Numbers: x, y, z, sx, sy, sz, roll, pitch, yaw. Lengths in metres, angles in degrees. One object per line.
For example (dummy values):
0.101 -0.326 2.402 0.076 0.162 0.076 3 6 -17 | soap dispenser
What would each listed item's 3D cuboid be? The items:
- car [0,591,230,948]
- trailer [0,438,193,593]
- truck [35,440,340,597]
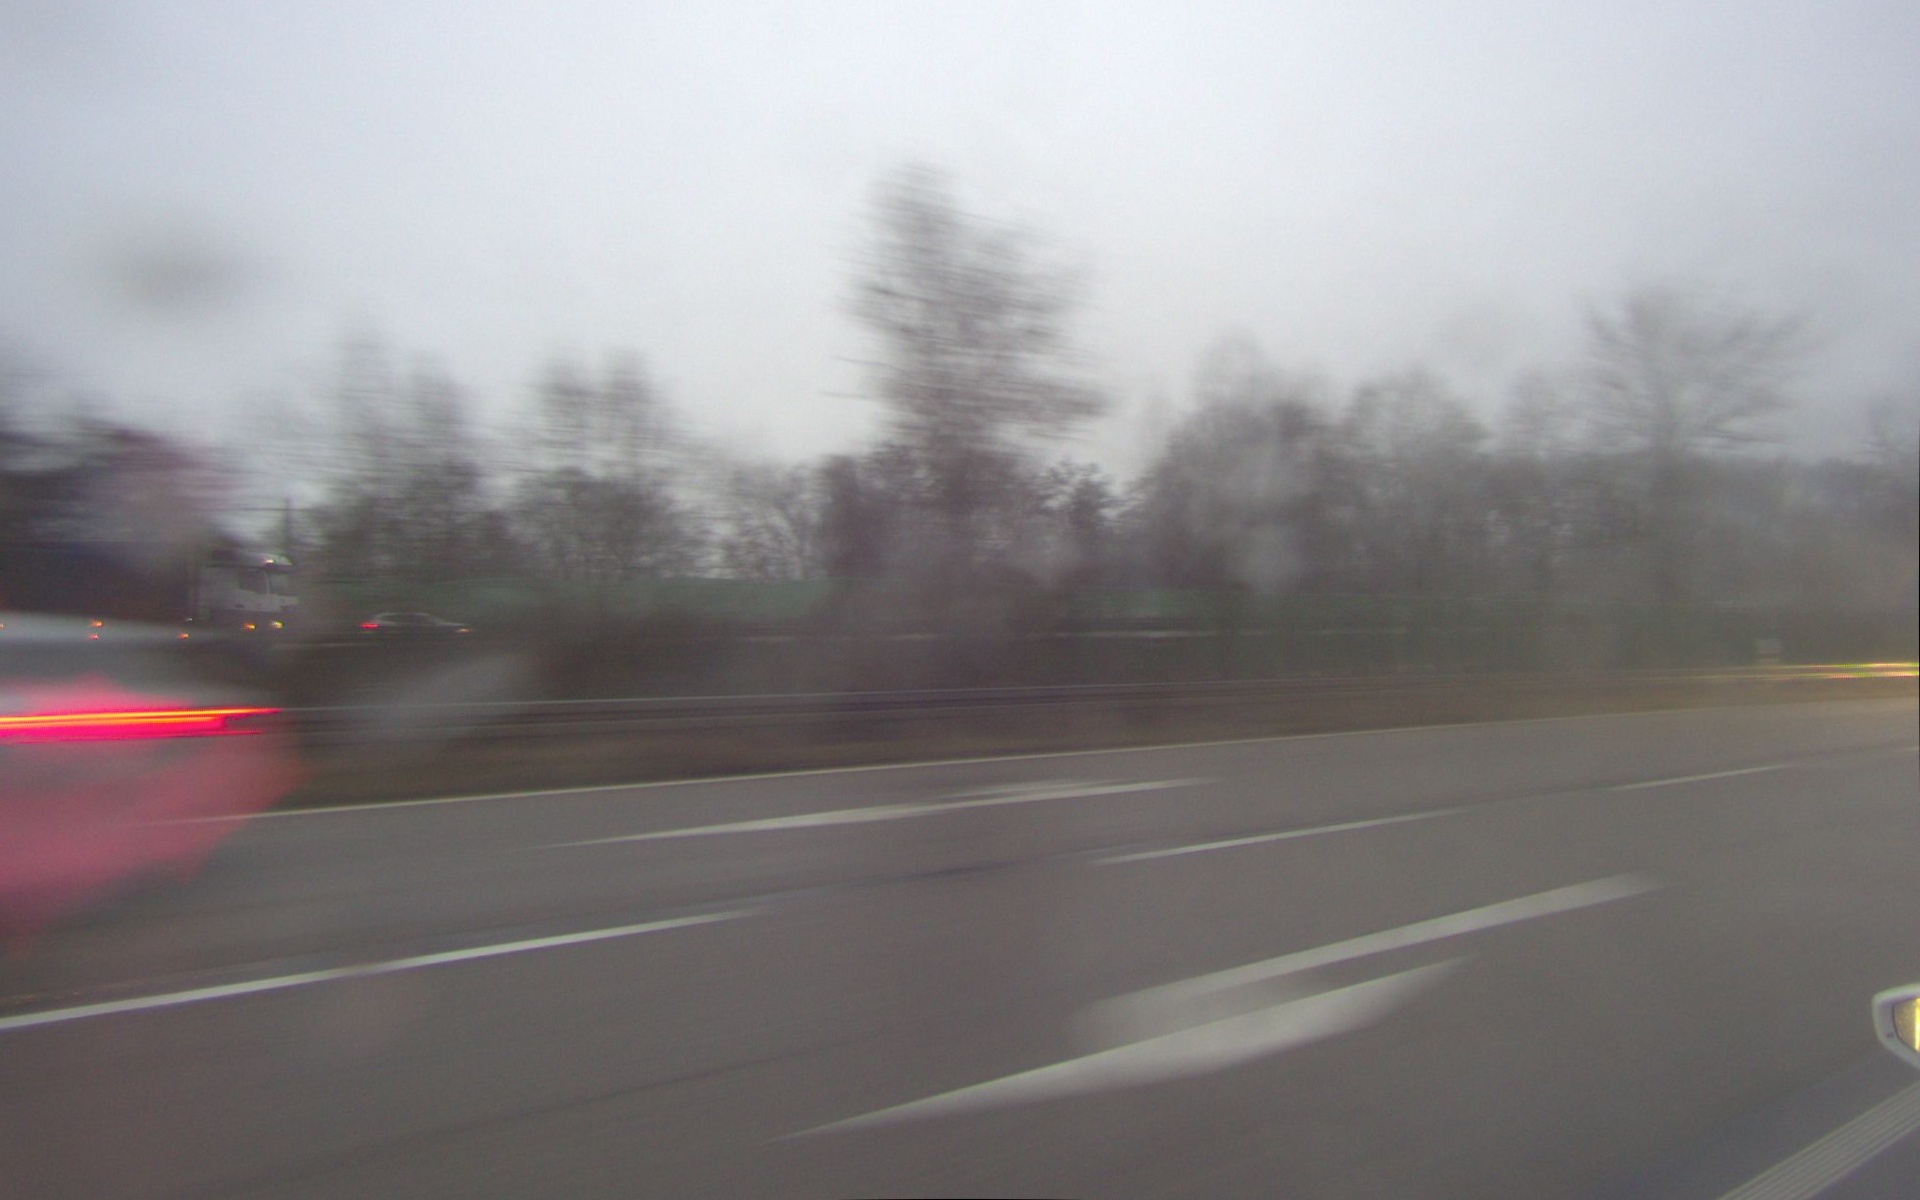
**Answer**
-5.957 0.676 4.292 4.330 1.510 1.984 2 -1 -30 | car
-36.153 -3.116 36.212 13.008 5.170 3.303 2 -2 -15 | trailer
-28.944 -2.886 38.191 8.378 5.197 3.276 2 -2 -16 | truck
